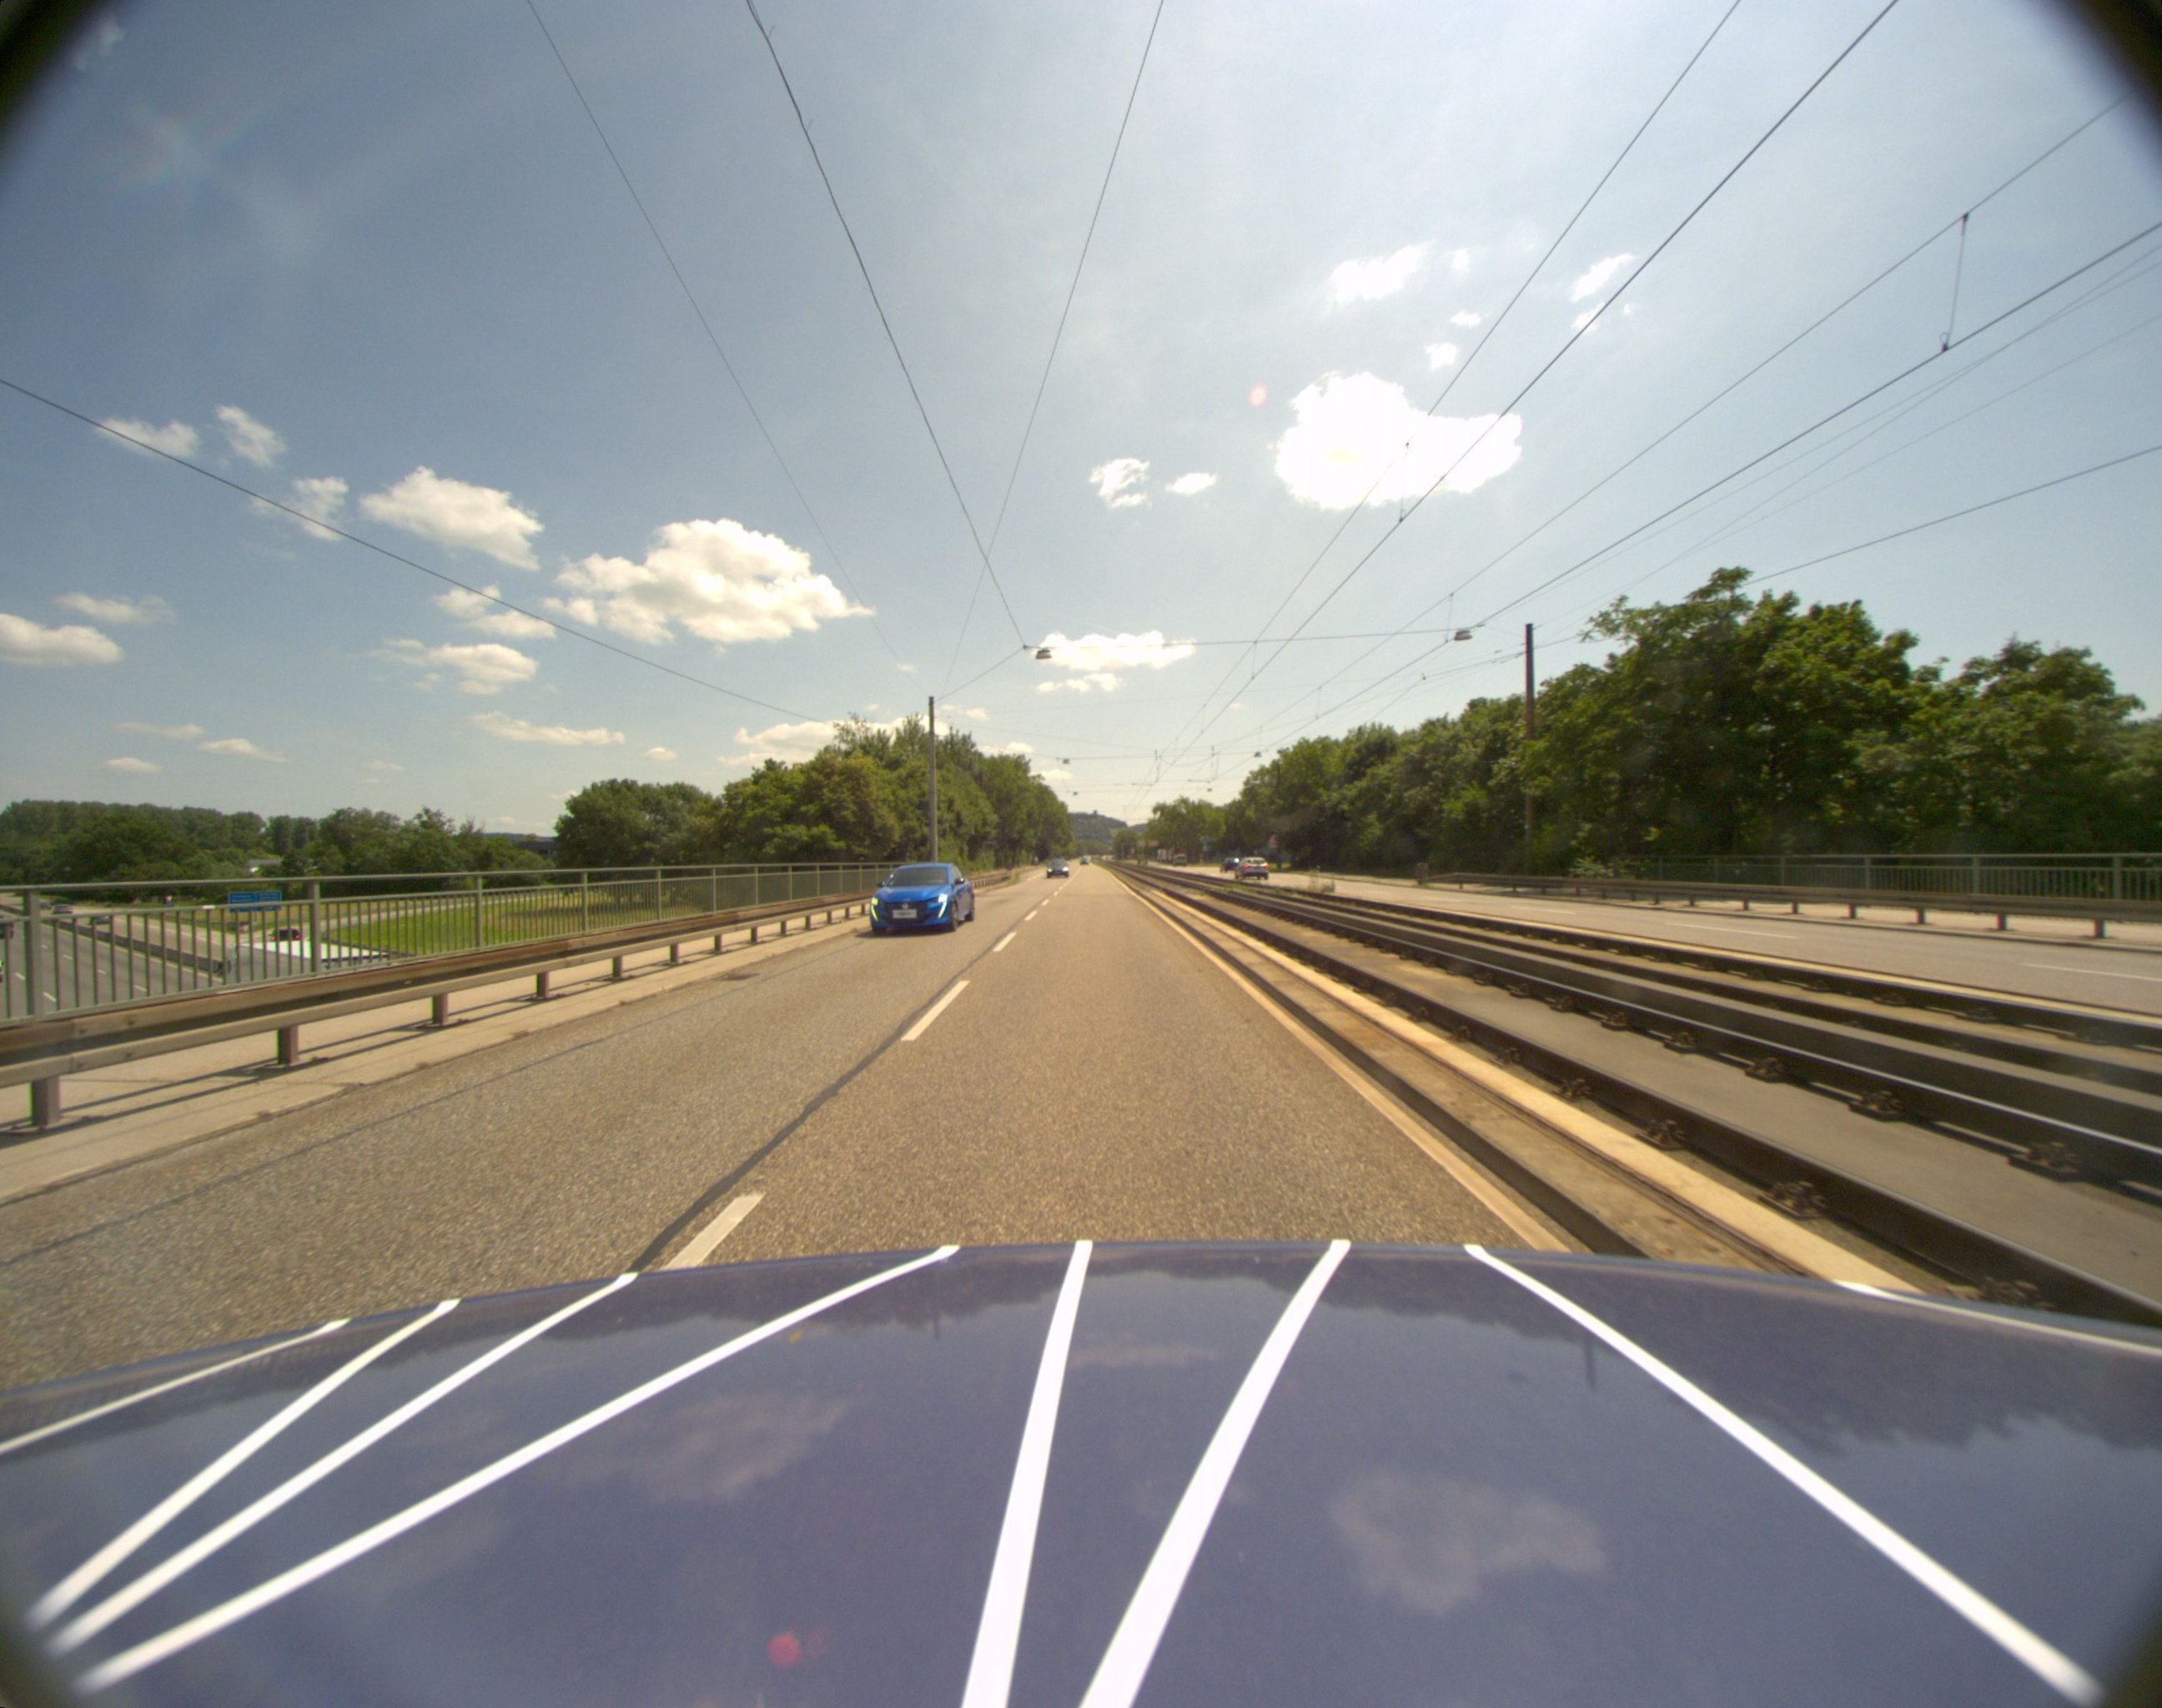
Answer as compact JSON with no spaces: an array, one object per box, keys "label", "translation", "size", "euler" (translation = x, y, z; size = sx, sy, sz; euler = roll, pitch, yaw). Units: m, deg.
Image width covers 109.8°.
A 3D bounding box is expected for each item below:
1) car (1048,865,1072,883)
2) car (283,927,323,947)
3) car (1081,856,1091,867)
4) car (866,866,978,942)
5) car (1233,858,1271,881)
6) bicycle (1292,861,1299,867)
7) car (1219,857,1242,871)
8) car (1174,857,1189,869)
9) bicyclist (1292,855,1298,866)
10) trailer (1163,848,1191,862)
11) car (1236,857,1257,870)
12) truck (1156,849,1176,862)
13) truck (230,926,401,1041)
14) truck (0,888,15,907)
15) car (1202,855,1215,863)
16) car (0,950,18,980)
[{"label":"car","translation":[-1.744,1.678,63.989],"size":[1.769,1.359,3.743],"euler":[-2,0,1]},{"label":"car","translation":[-81.030,8.640,79.119],"size":[3.990,1.783,2.007],"euler":[-6,0,33]},{"label":"car","translation":[1.103,1.553,157.973],"size":[1.998,2.002,3.999],"euler":[-2,0,0]},{"label":"car","translation":[-3.412,1.026,17.010],"size":[1.660,1.397,3.743],"euler":[-2,0,0]},{"label":"car","translation":[11.787,1.038,52.560],"size":[1.715,1.412,4.624],"euler":[0,0,1]},{"label":"bicycle","translation":[28.654,1.338,101.608],"size":[0.587,0.814,2.069],"euler":[-3,1,6]},{"label":"car","translation":[14.906,0.976,75.815],"size":[1.578,1.392,3.938],"euler":[0,0,1]},{"label":"car","translation":[16.081,1.403,122.150],"size":[1.816,1.914,5.179],"euler":[0,0,1]},{"label":"bicyclist","translation":[28.632,0.895,101.602],"size":[0.570,1.360,0.631],"euler":[-2,1,6]},{"label":"trailer","translation":[26.128,0.363,208.225],"size":[3.390,3.633,12.093],"euler":[0,0,-15]},{"label":"car","translation":[18.252,1.072,83.847],"size":[1.567,1.339,3.929],"euler":[0,0,1]},{"label":"truck","translation":[24.115,0.372,215.773],"size":[3.420,3.680,6.751],"euler":[0,0,-15]},{"label":"truck","translation":[-39.897,6.323,39.321],"size":[14.746,4.196,2.836],"euler":[0,3,32]},{"label":"truck","translation":[-206.623,8.307,144.900],"size":[6.934,3.420,3.375],"euler":[-2,1,33]},{"label":"car","translation":[31.918,1.234,190.565],"size":[1.567,1.781,3.392],"euler":[0,0,-25]},{"label":"car","translation":[-78.408,8.036,54.735],"size":[3.989,1.849,1.821],"euler":[-2,1,32]}]
